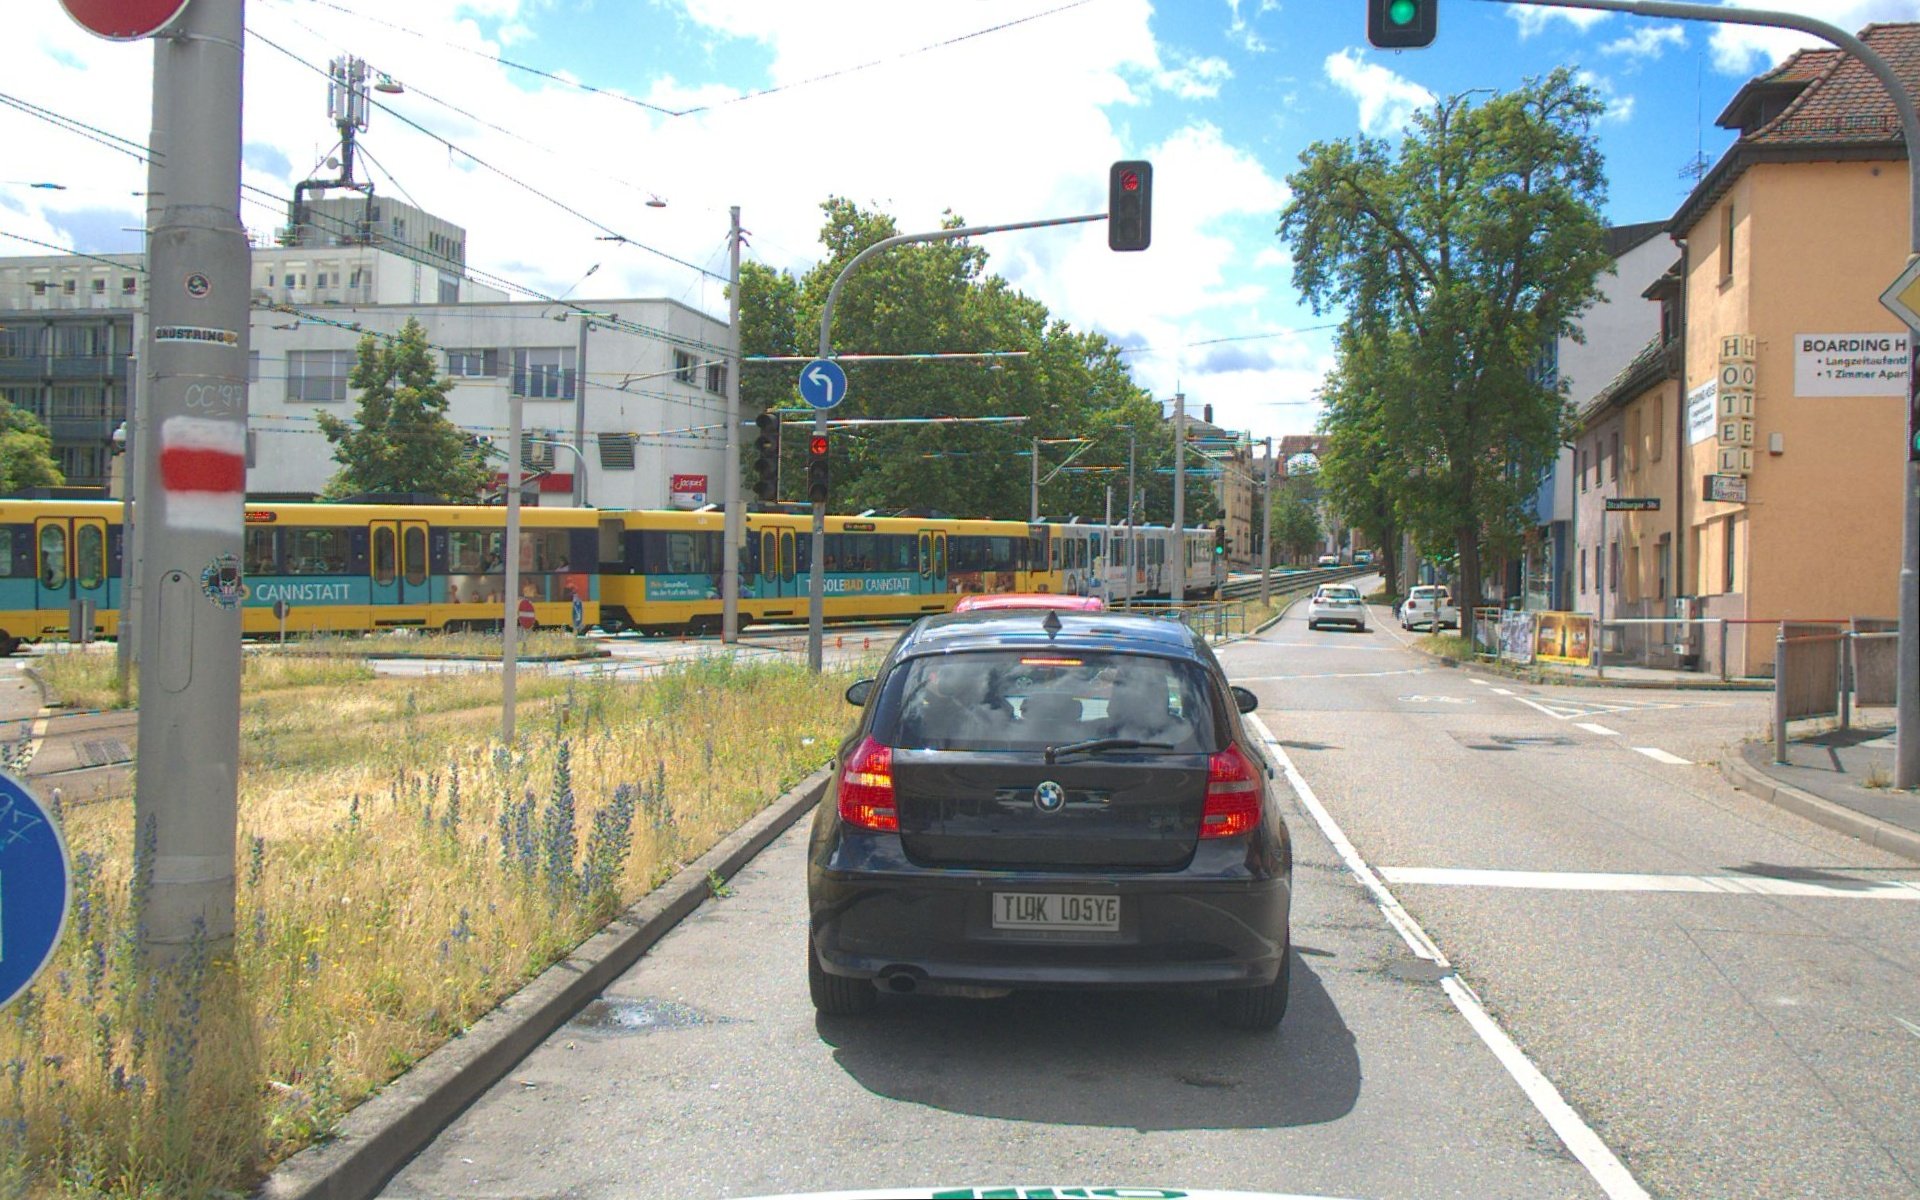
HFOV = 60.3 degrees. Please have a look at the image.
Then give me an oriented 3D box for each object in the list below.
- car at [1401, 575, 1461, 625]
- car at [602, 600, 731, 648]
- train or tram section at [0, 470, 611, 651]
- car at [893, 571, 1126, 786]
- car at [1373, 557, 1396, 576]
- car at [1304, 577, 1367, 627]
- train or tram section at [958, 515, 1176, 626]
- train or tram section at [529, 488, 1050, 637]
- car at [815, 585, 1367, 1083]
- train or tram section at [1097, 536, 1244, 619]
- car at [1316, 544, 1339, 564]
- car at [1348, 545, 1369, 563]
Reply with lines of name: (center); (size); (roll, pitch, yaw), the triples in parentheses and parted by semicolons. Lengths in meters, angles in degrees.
car: (16.113, 0.008, 56.749); (1.749, 1.624, 4.003); (-1, 0, 13)
car: (-10.212, 0.815, 57.783); (4.137, 1.613, 1.829); (0, -1, -44)
train or tram section: (-18.102, -0.889, 40.334); (18.639, 3.987, 3.723); (-1, -1, -31)
car: (0.541, 0.569, 13.667); (1.590, 1.499, 4.003); (-1, 0, 6)
car: (36.162, -2.826, 140.946); (1.777, 1.494, 4.003); (3, 1, 14)
car: (12.395, 0.031, 54.772); (1.776, 1.494, 4.004); (2, 1, 10)
train or tram section: (5.089, -1.041, 69.571); (3.671, 3.947, 20.641); (-1, 0, 19)
train or tram section: (-4.345, -0.997, 52.467); (3.688, 3.896, 20.060); (-1, -1, 38)
car: (0.329, 0.717, 7.024); (1.667, 1.477, 3.998); (-1, 0, -2)
train or tram section: (11.617, -1.051, 88.296); (3.671, 3.881, 20.057); (-1, 0, 19)
car: (41.886, -5.222, 188.668); (1.952, 2.049, 4.000); (-1, 0, 21)
car: (50.141, -5.796, 207.983); (1.952, 2.049, 4.000); (-1, 0, 21)
